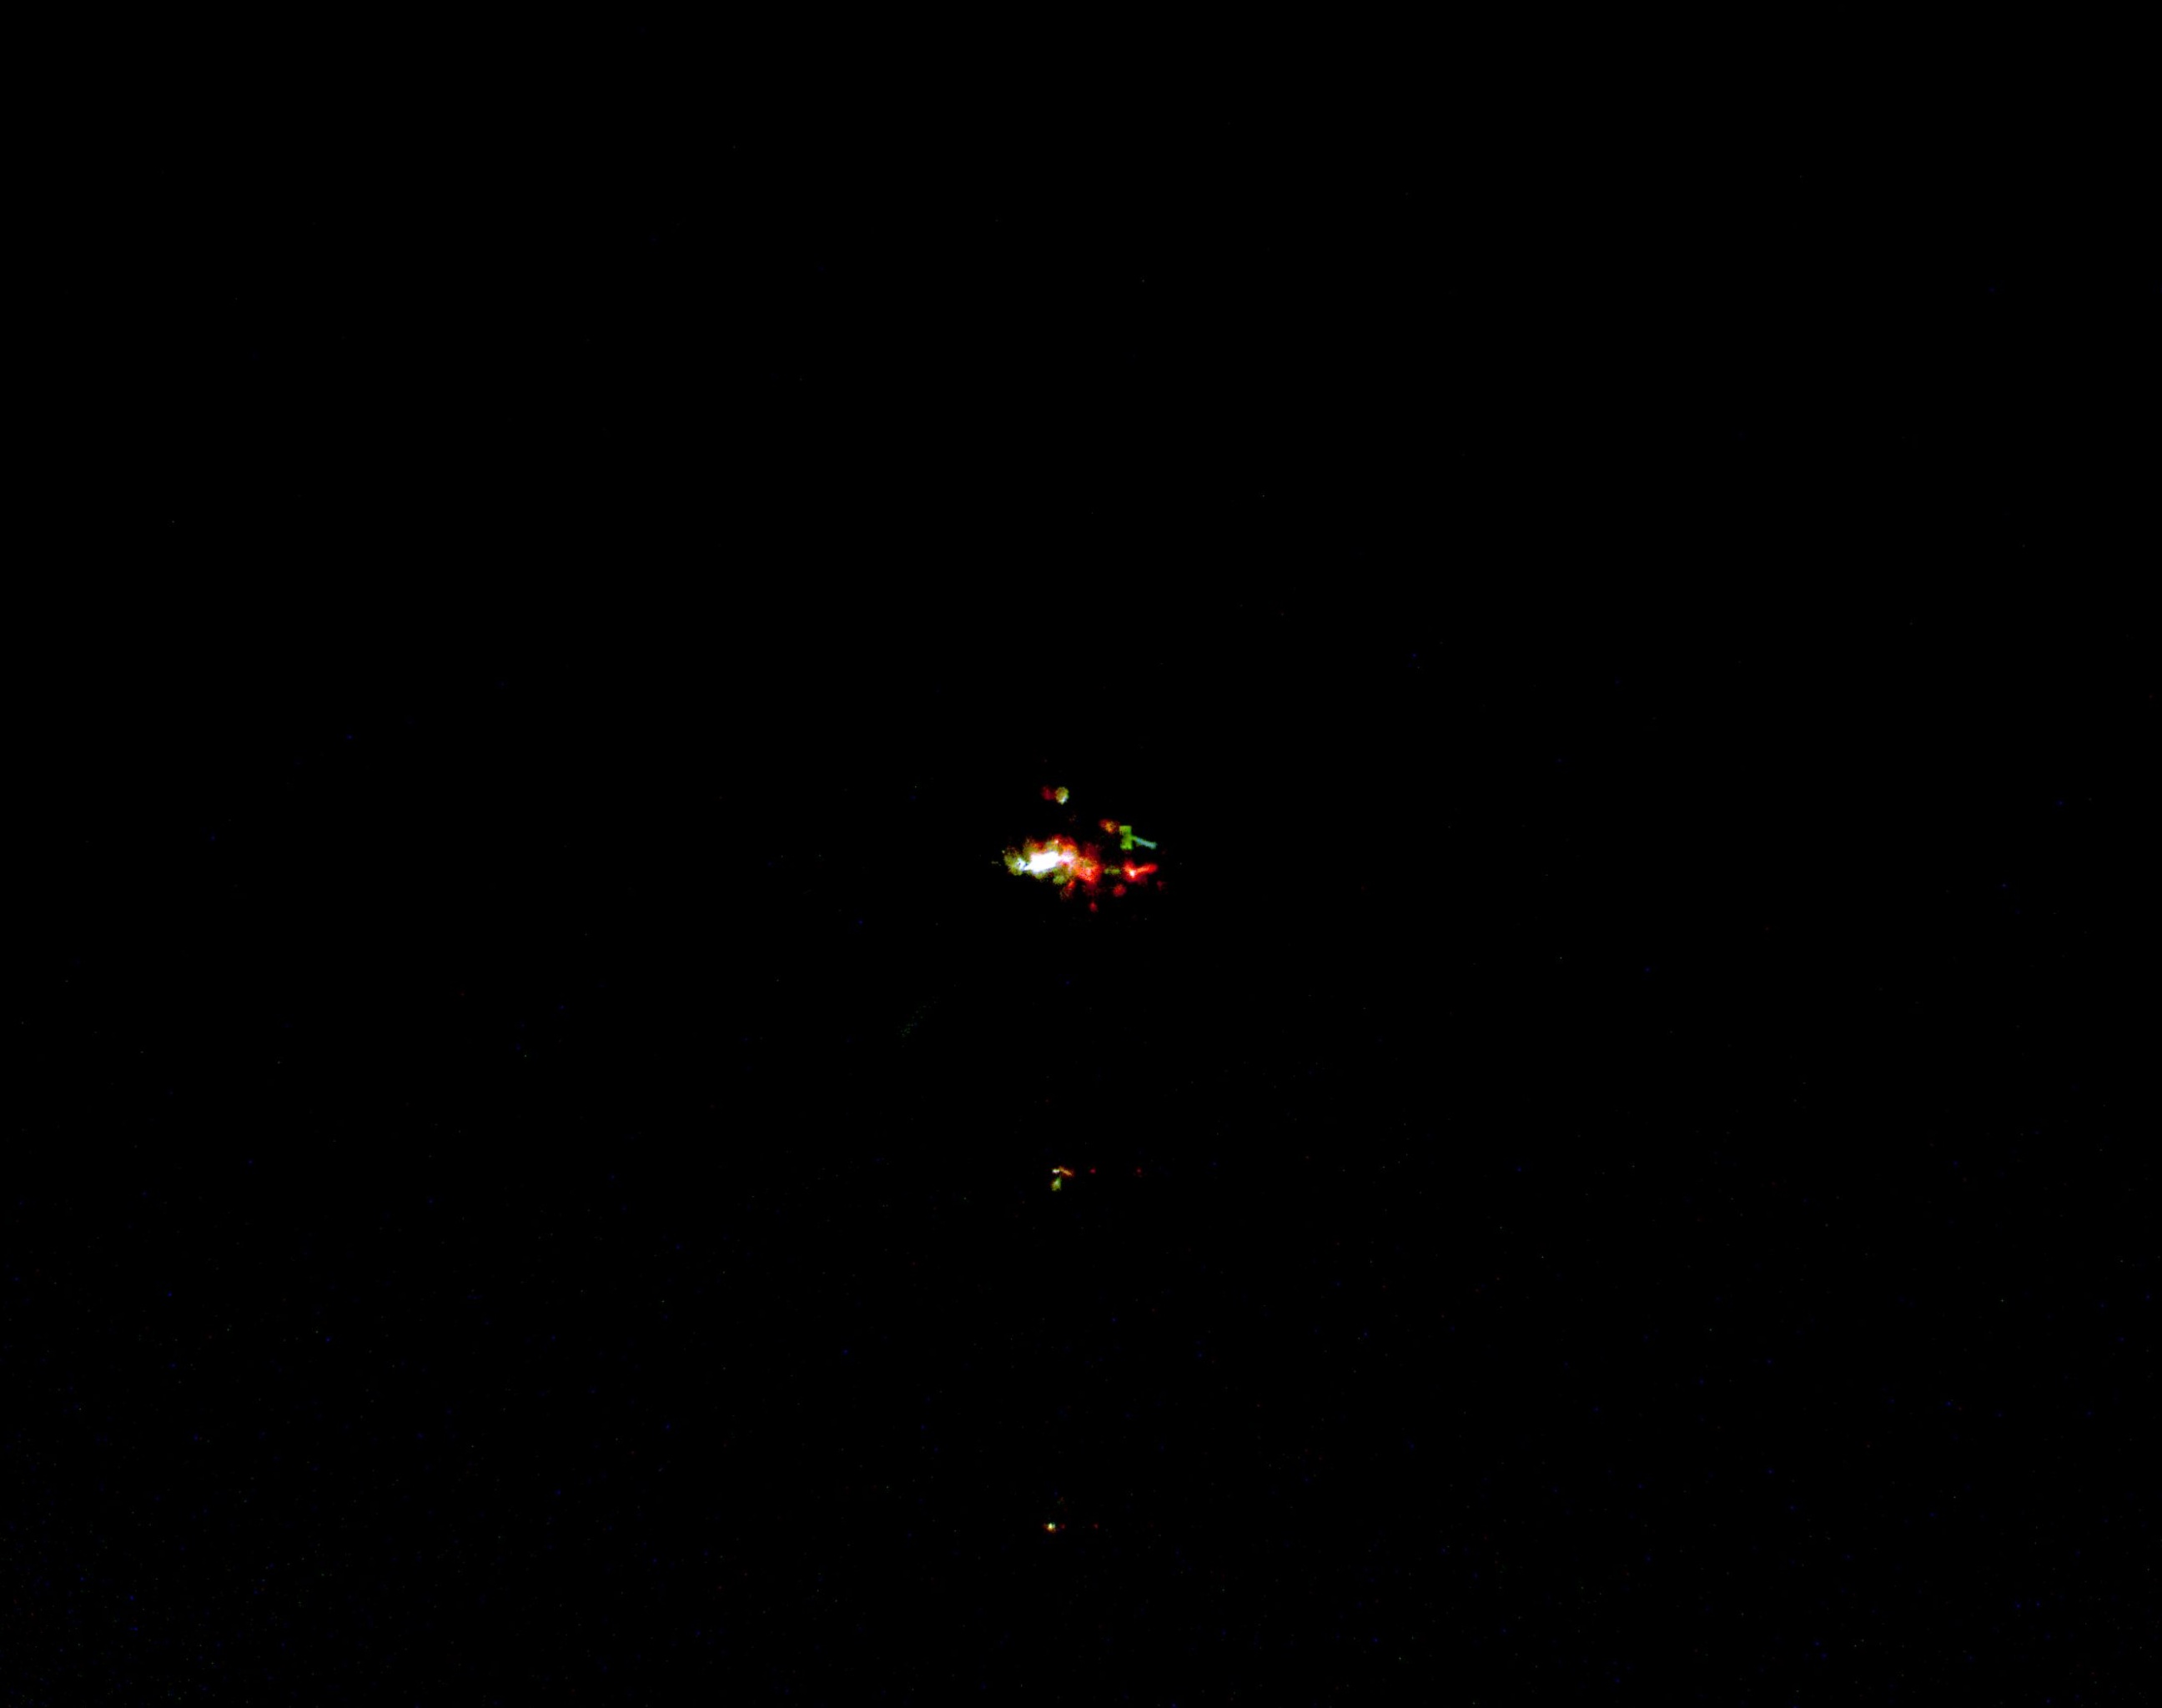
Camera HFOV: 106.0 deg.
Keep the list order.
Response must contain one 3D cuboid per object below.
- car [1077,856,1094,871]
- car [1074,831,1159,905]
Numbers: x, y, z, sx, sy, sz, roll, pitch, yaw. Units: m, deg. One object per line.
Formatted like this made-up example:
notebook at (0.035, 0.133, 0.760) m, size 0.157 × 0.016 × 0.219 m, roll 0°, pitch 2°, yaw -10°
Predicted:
car at (0.561, 1.195, 106.699) m, size 1.989 × 1.915 × 3.995 m, roll 0°, pitch -1°, yaw -3°
car at (1.185, 0.466, 29.343) m, size 2.706 × 2.307 × 6.100 m, roll -2°, pitch 0°, yaw 1°
